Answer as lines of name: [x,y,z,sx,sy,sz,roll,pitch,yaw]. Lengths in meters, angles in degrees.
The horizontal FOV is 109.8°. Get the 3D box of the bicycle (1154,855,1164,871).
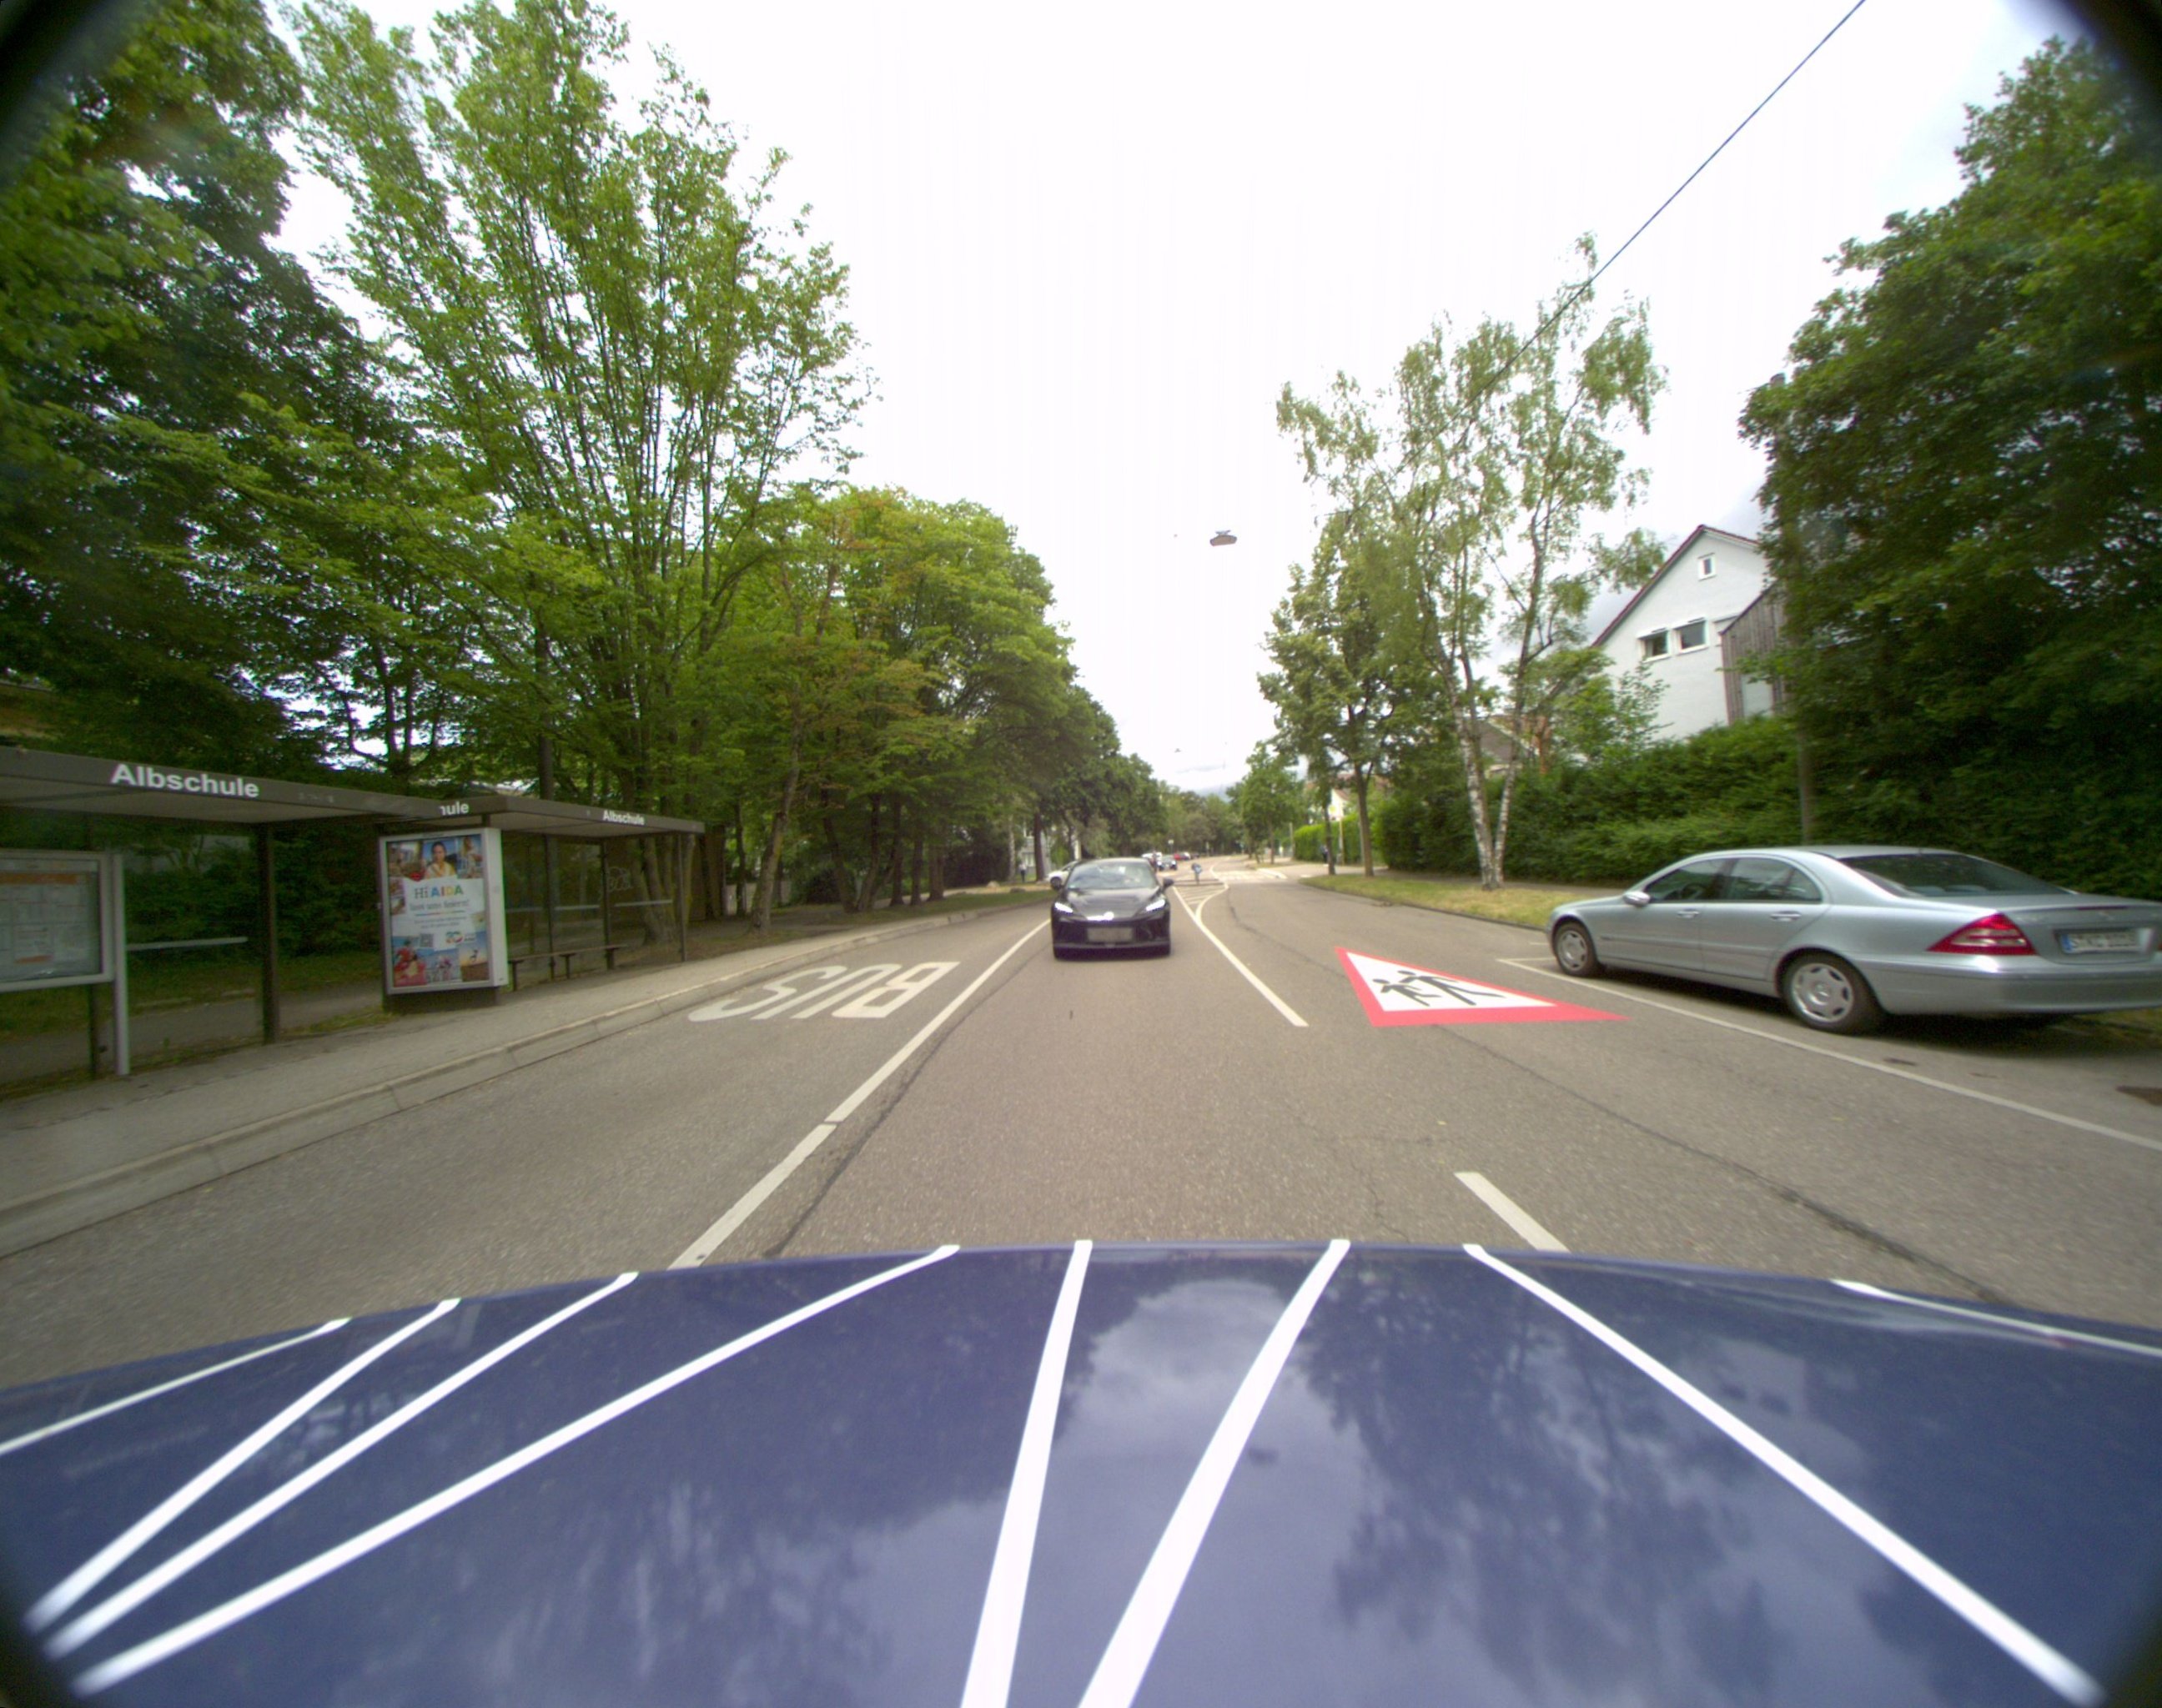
bicycle: [6.435,0.730,62.727,0.647,1.230,1.877,-3,0,2]

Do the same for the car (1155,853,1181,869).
car: [8.373,0.628,72.890,1.859,1.366,4.080,-4,0,13]

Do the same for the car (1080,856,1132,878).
car: [2.146,1.104,64.483,4.001,1.455,1.794,-5,0,-13]

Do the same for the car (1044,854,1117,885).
car: [-0.031,0.974,49.132,4.479,1.576,1.907,-5,0,0]

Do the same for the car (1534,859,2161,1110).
car: [6.319,0.781,6.734,1.740,1.408,4.471,-2,0,-3]

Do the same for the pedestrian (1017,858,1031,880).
pedestrian: [-4.442,1.176,59.575,0.692,1.634,0.779,-3,0,31]

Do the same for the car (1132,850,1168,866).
car: [9.002,0.540,99.226,4.223,1.748,1.857,-5,0,-12]

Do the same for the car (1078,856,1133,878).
car: [1.961,1.062,61.690,4.001,1.455,1.864,-5,0,-13]

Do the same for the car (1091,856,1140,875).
car: [3.141,1.047,69.701,4.002,1.455,1.848,-5,0,-18]

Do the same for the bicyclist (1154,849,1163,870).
bicyclist: [6.427,0.450,62.912,0.647,1.768,0.628,-3,1,1]

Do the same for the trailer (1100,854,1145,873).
trailer: [3.992,0.888,72.688,3.999,1.543,1.658,-3,0,-6]

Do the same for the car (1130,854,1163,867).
car: [8.290,0.807,96.307,3.855,1.430,1.715,-5,0,-2]

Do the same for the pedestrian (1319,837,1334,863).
pedestrian: [16.320,-0.257,50.500,0.693,1.701,0.778,-3,0,3]

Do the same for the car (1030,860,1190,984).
car: [0.629,0.919,11.806,1.811,1.484,3.796,-3,0,12]

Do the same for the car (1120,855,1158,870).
car: [6.556,0.975,85.802,3.857,1.426,1.714,-5,1,-13]
